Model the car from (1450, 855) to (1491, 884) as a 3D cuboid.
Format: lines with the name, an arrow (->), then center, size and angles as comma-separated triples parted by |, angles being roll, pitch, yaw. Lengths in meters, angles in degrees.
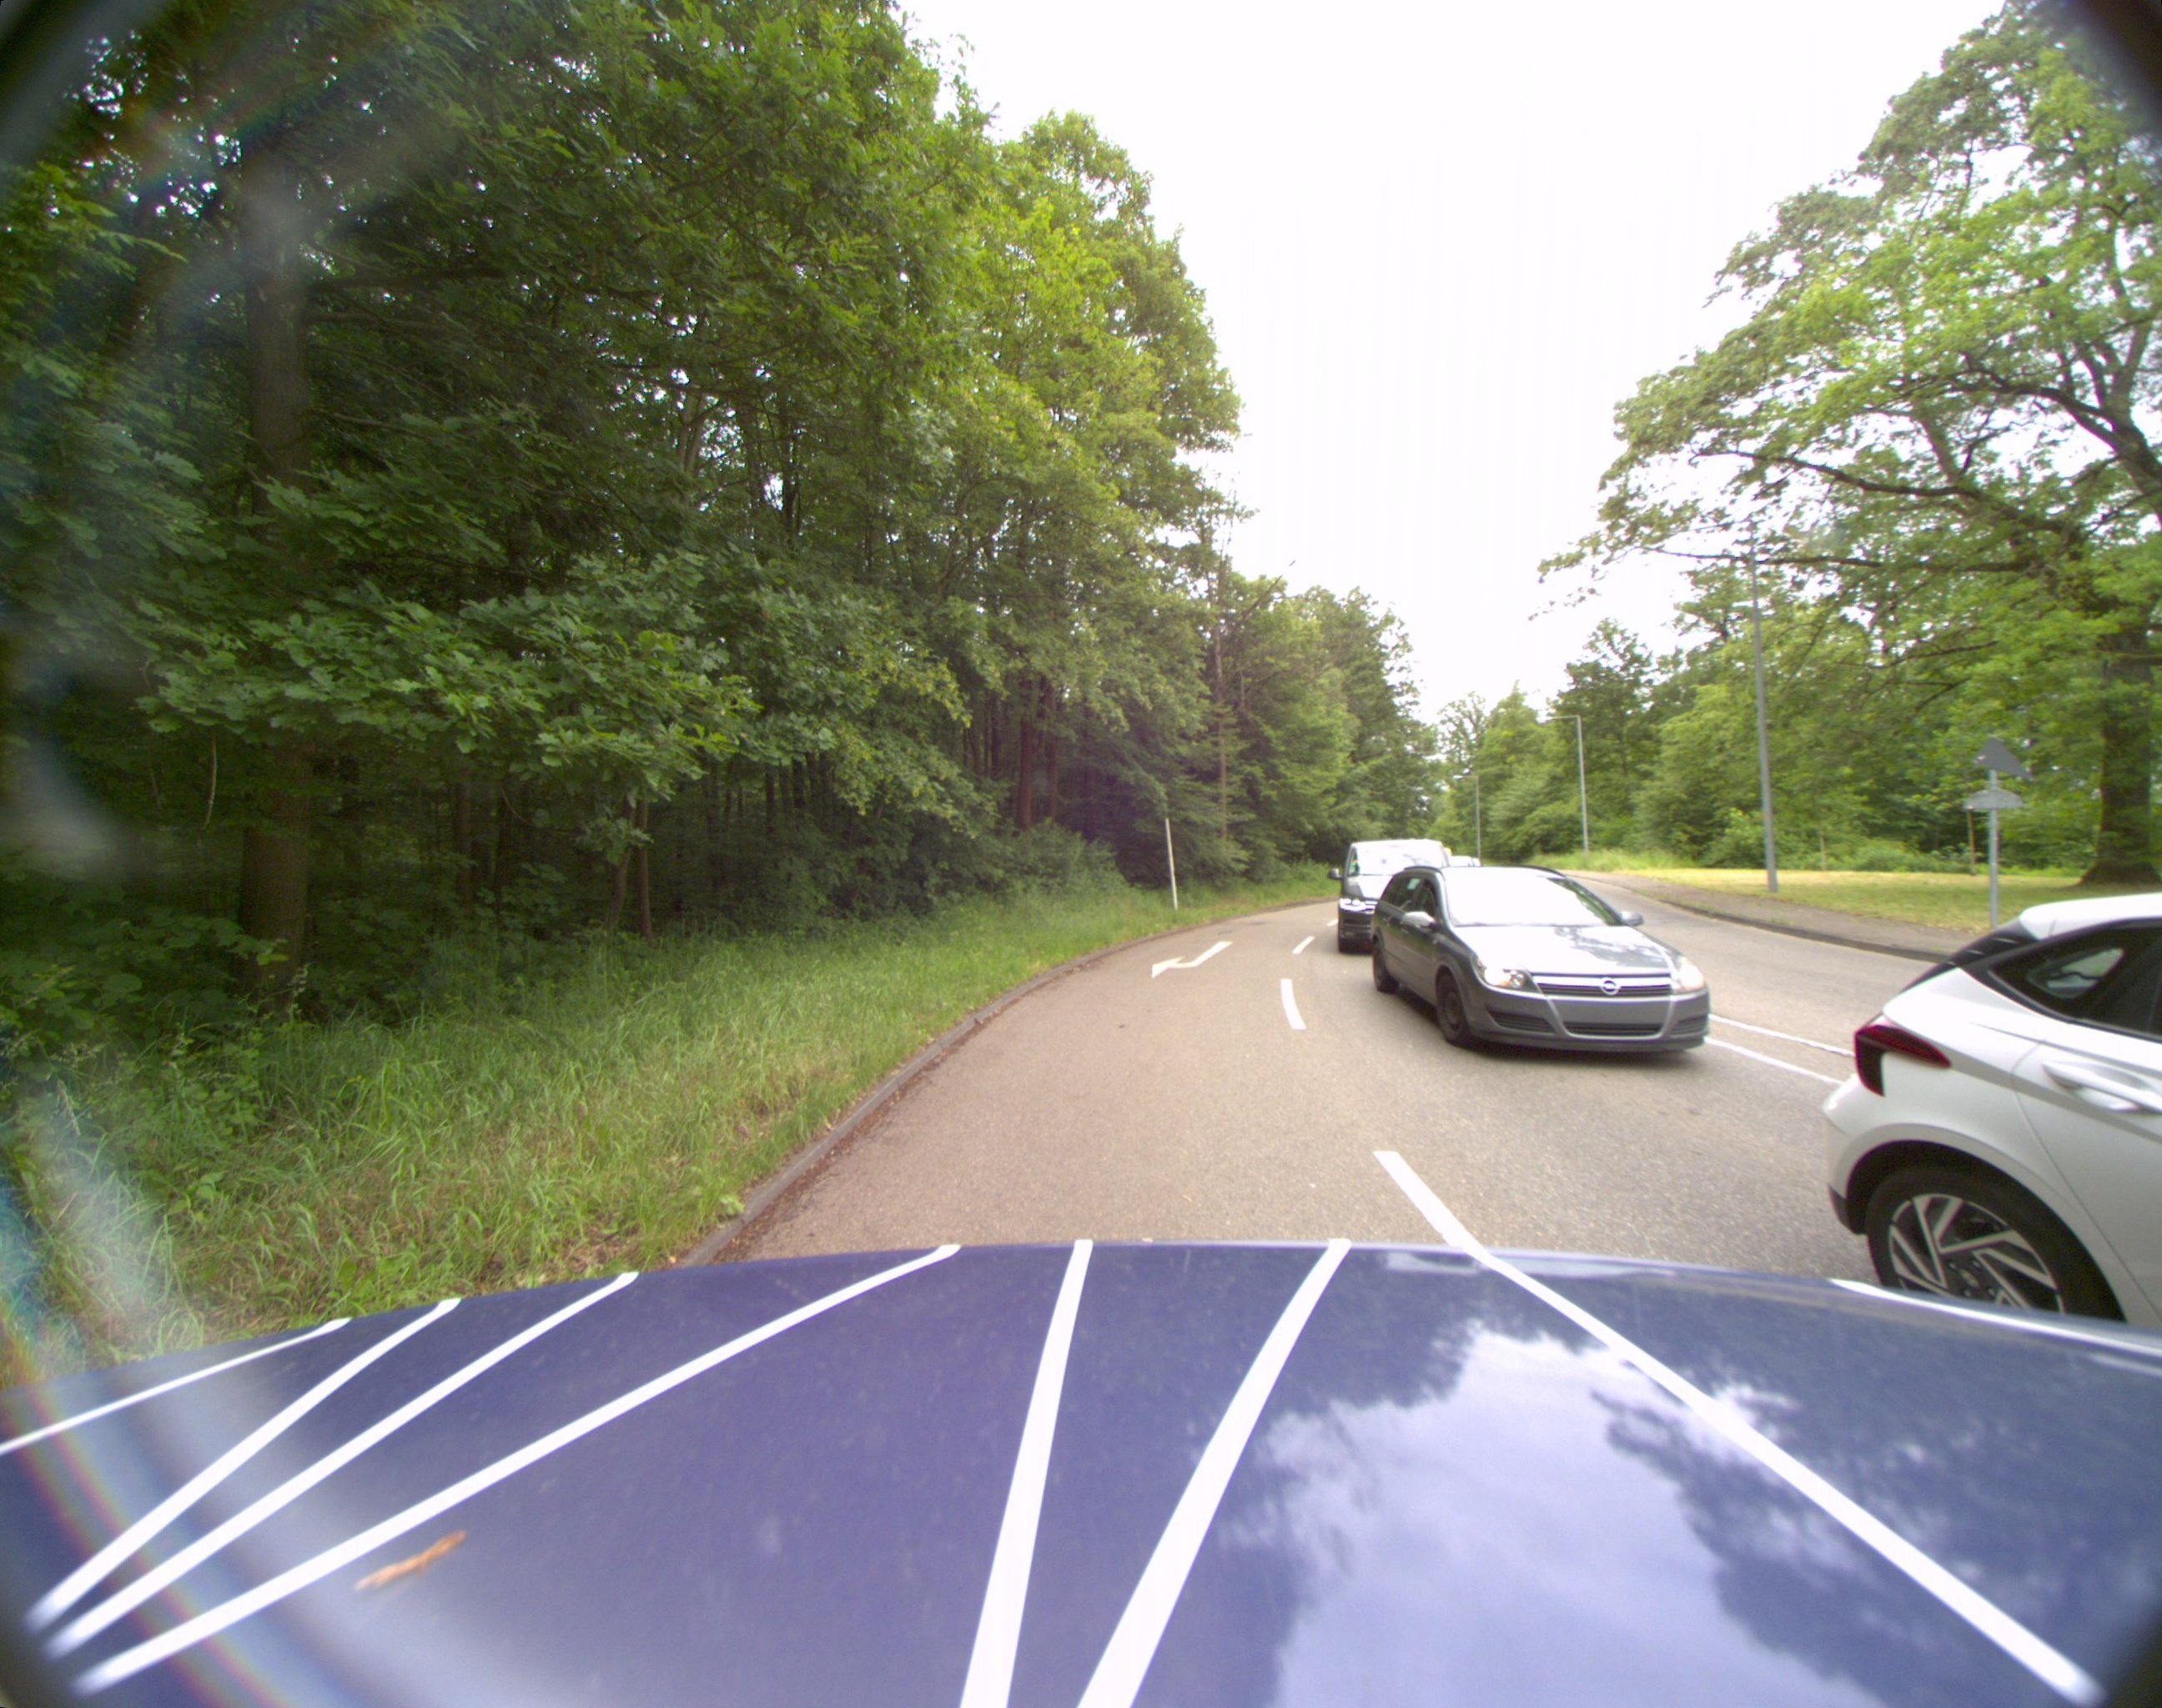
car -> 20.962, 0.806, 41.022 | 1.775, 1.490, 3.880 | -2, -1, 25

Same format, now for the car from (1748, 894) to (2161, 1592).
car -> 3.147, 0.862, 0.665 | 1.653, 1.470, 4.074 | -1, -1, 3

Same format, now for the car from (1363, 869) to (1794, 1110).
car -> 4.014, 0.921, 7.156 | 1.801, 1.470, 4.474 | -1, -1, 11

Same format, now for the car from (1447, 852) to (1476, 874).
car -> 27.508, 0.644, 54.843 | 1.775, 1.490, 3.880 | -2, -1, 28

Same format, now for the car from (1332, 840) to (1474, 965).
car -> 5.733, 0.764, 13.837 | 1.987, 1.861, 4.539 | -1, -1, 21

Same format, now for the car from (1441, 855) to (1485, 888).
car -> 18.423, 0.831, 36.753 | 1.775, 1.490, 3.880 | -2, -1, 25

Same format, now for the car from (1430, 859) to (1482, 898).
car -> 15.210, 0.957, 30.949 | 1.775, 1.490, 3.880 | -2, -1, 25

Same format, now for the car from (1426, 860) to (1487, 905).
car -> 13.367, 0.973, 27.173 | 1.775, 1.490, 3.880 | -2, -1, 25
